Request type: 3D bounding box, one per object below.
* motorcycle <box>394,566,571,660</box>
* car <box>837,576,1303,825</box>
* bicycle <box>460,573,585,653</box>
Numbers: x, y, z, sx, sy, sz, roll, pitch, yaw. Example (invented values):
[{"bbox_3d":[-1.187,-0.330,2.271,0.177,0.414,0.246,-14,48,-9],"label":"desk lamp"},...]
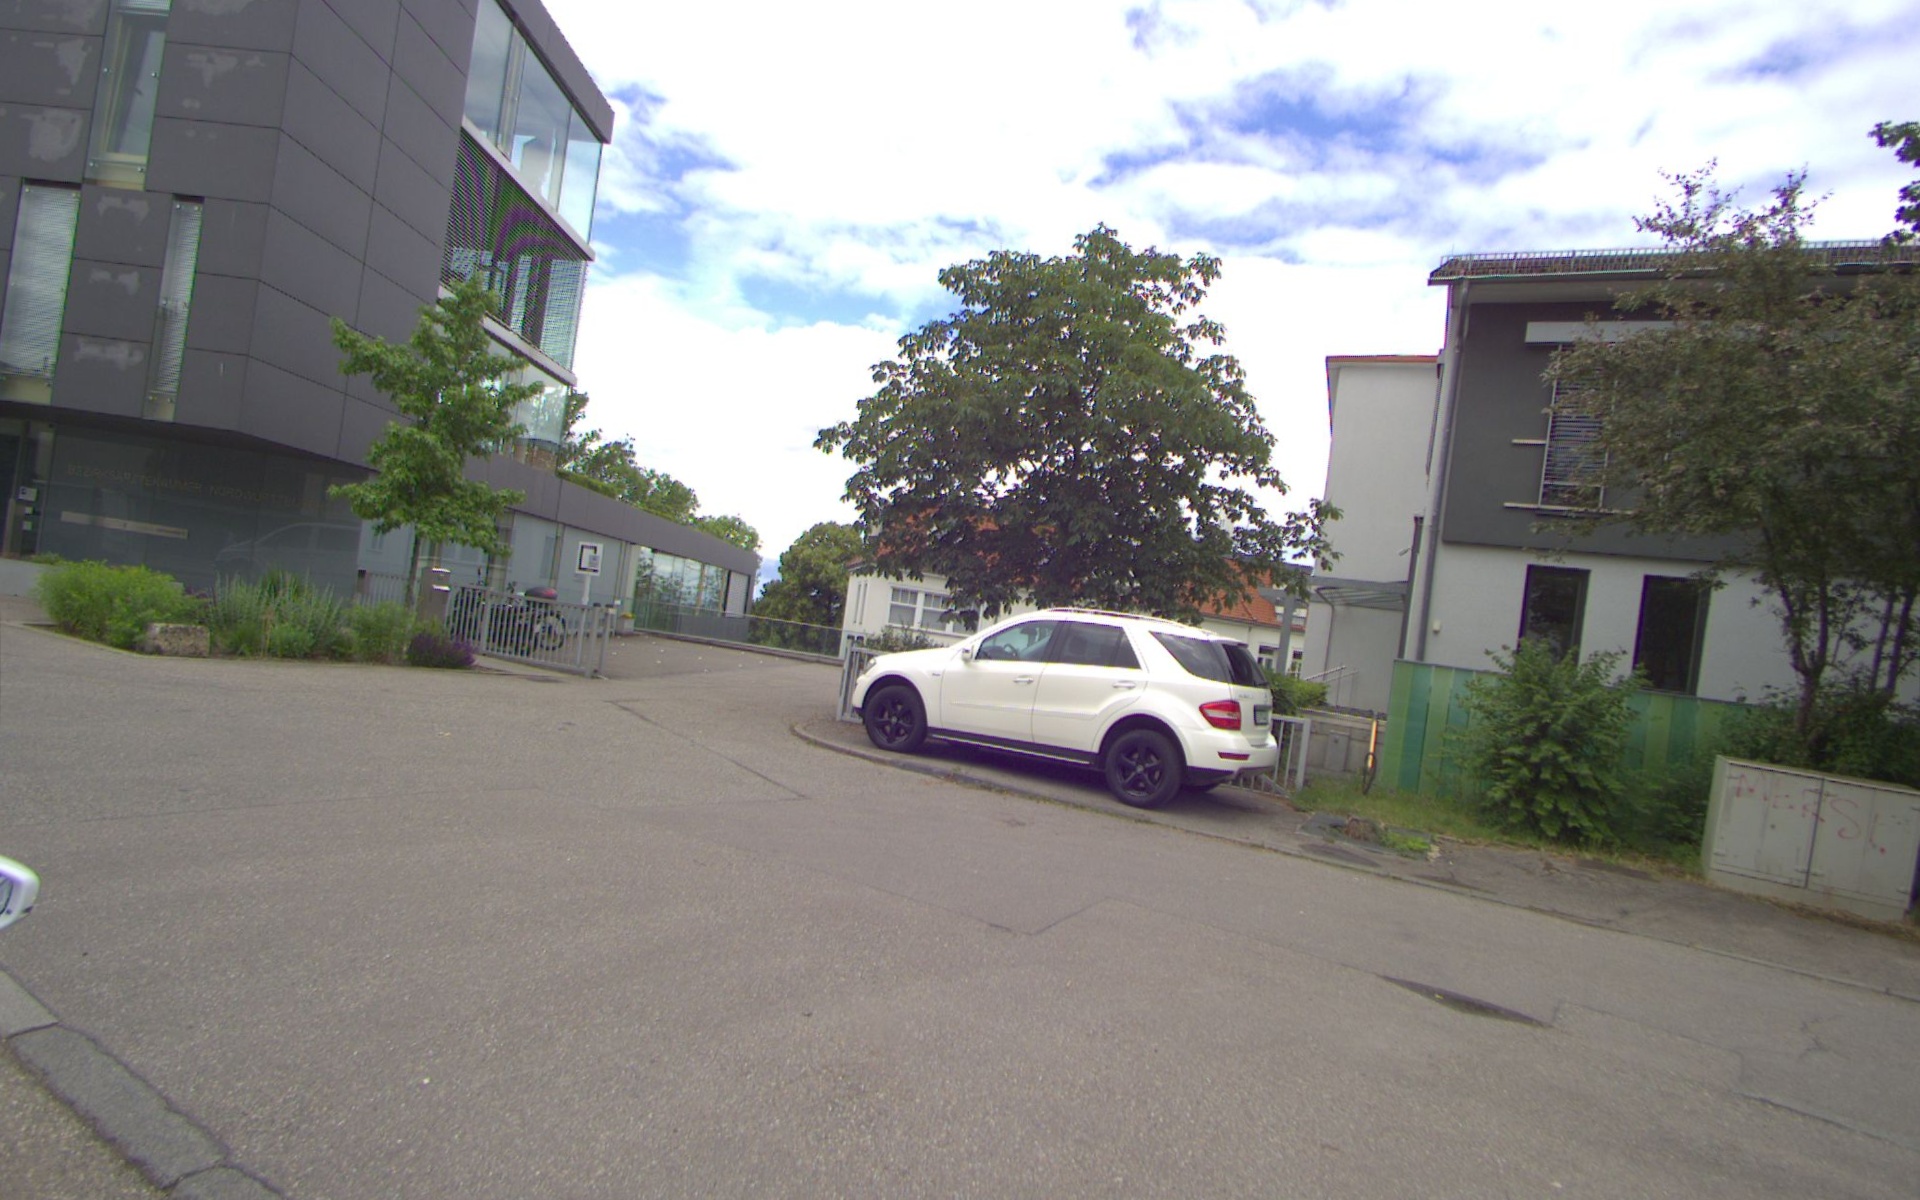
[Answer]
[{"bbox_3d":[-8.460,0.233,17.868,2.643,1.275,0.849,8,-1,5],"label":"motorcycle"},{"bbox_3d":[1.128,0.938,10.913,4.442,1.860,1.996,6,0,31],"label":"car"},{"bbox_3d":[-8.585,0.263,19.776,2.063,1.275,0.616,8,-1,5],"label":"bicycle"}]
